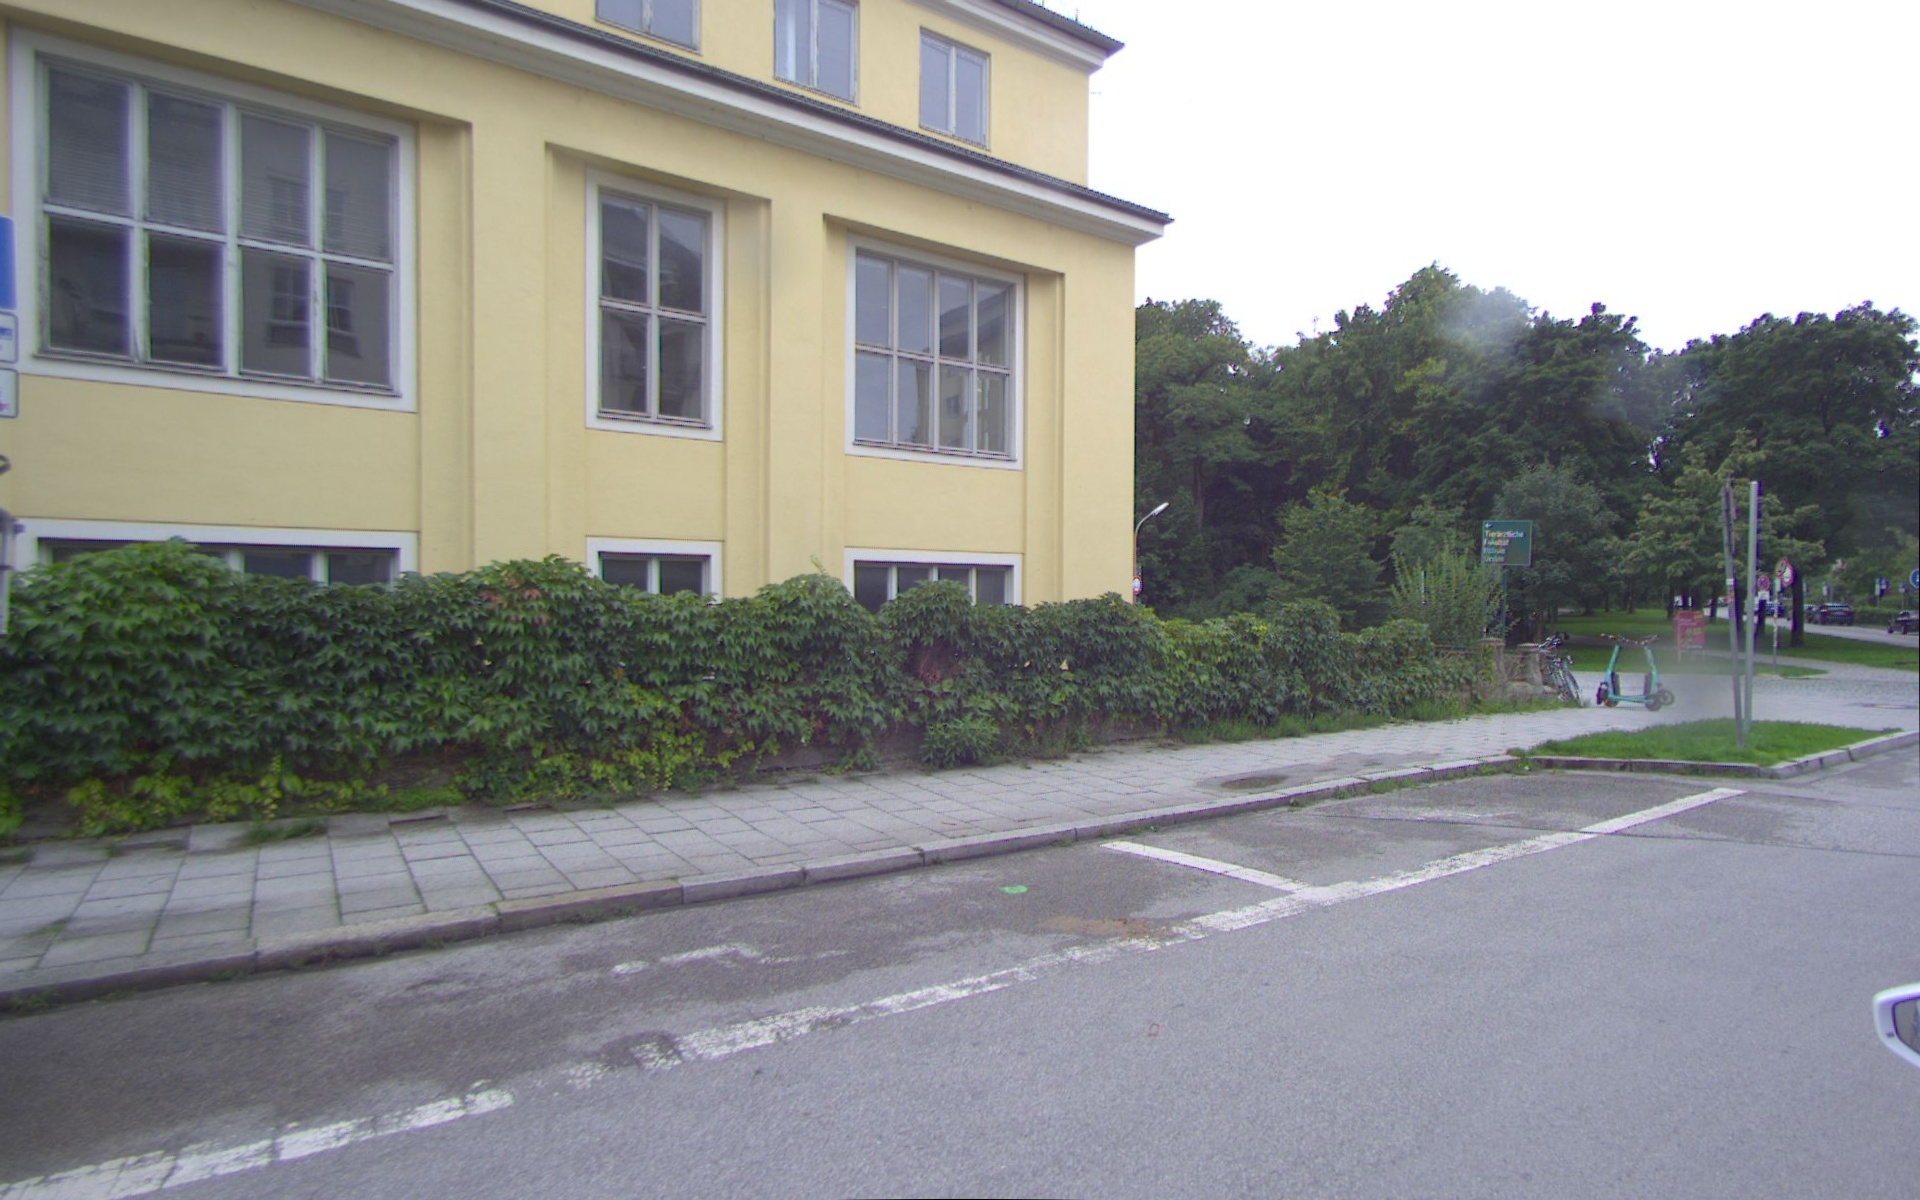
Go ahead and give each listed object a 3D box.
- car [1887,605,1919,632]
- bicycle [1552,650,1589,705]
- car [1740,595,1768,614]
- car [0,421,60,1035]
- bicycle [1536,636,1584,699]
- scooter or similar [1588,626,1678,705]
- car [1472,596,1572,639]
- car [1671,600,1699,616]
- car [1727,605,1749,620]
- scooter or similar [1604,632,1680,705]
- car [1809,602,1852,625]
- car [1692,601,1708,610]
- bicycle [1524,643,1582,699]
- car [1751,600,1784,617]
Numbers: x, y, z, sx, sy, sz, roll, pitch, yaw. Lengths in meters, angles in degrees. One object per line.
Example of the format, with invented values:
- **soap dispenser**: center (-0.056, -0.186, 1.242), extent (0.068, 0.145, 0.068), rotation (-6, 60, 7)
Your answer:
- **car**: center (57.282, 1.083, 60.392), extent (1.624, 1.579, 3.550), rotation (0, 0, 33)
- **bicycle**: center (10.683, 1.335, 17.571), extent (0.427, 0.905, 1.325), rotation (1, -1, 37)
- **car**: center (85.824, 0.463, 108.618), extent (2.038, 1.992, 4.962), rotation (1, 0, 34)
- **car**: center (-4.971, 0.403, 1.897), extent (4.571, 2.005, 1.915), rotation (0, -2, -32)
- **bicycle**: center (11.330, 1.260, 18.989), extent (0.295, 1.126, 1.192), rotation (1, -1, 7)
- **scooter or similar**: center (11.514, 1.101, 17.224), extent (0.389, 1.260, 1.257), rotation (2, -1, -22)
- **car**: center (27.306, 0.839, 48.857), extent (3.923, 2.040, 1.787), rotation (0, 0, -3)
- **car**: center (75.256, 0.806, 104.253), extent (1.965, 1.622, 4.457), rotation (1, 0, 31)
- **car**: center (91.697, 1.470, 118.451), extent (1.704, 1.725, 3.989), rotation (1, 0, 33)
- **scooter or similar**: center (12.043, 1.196, 17.744), extent (1.033, 1.228, 0.439), rotation (2, 0, -3)
- **car**: center (67.116, 1.008, 77.528), extent (1.767, 1.702, 3.992), rotation (0, 0, 30)
- **car**: center (129.741, 0.942, 176.040), extent (1.970, 1.622, 4.446), rotation (1, 0, 39)
- **bicycle**: center (11.344, 1.339, 19.246), extent (0.406, 0.990, 1.276), rotation (0, 0, 2)
- **car**: center (80.822, 0.835, 100.577), extent (1.964, 1.622, 4.245), rotation (1, 0, 30)
